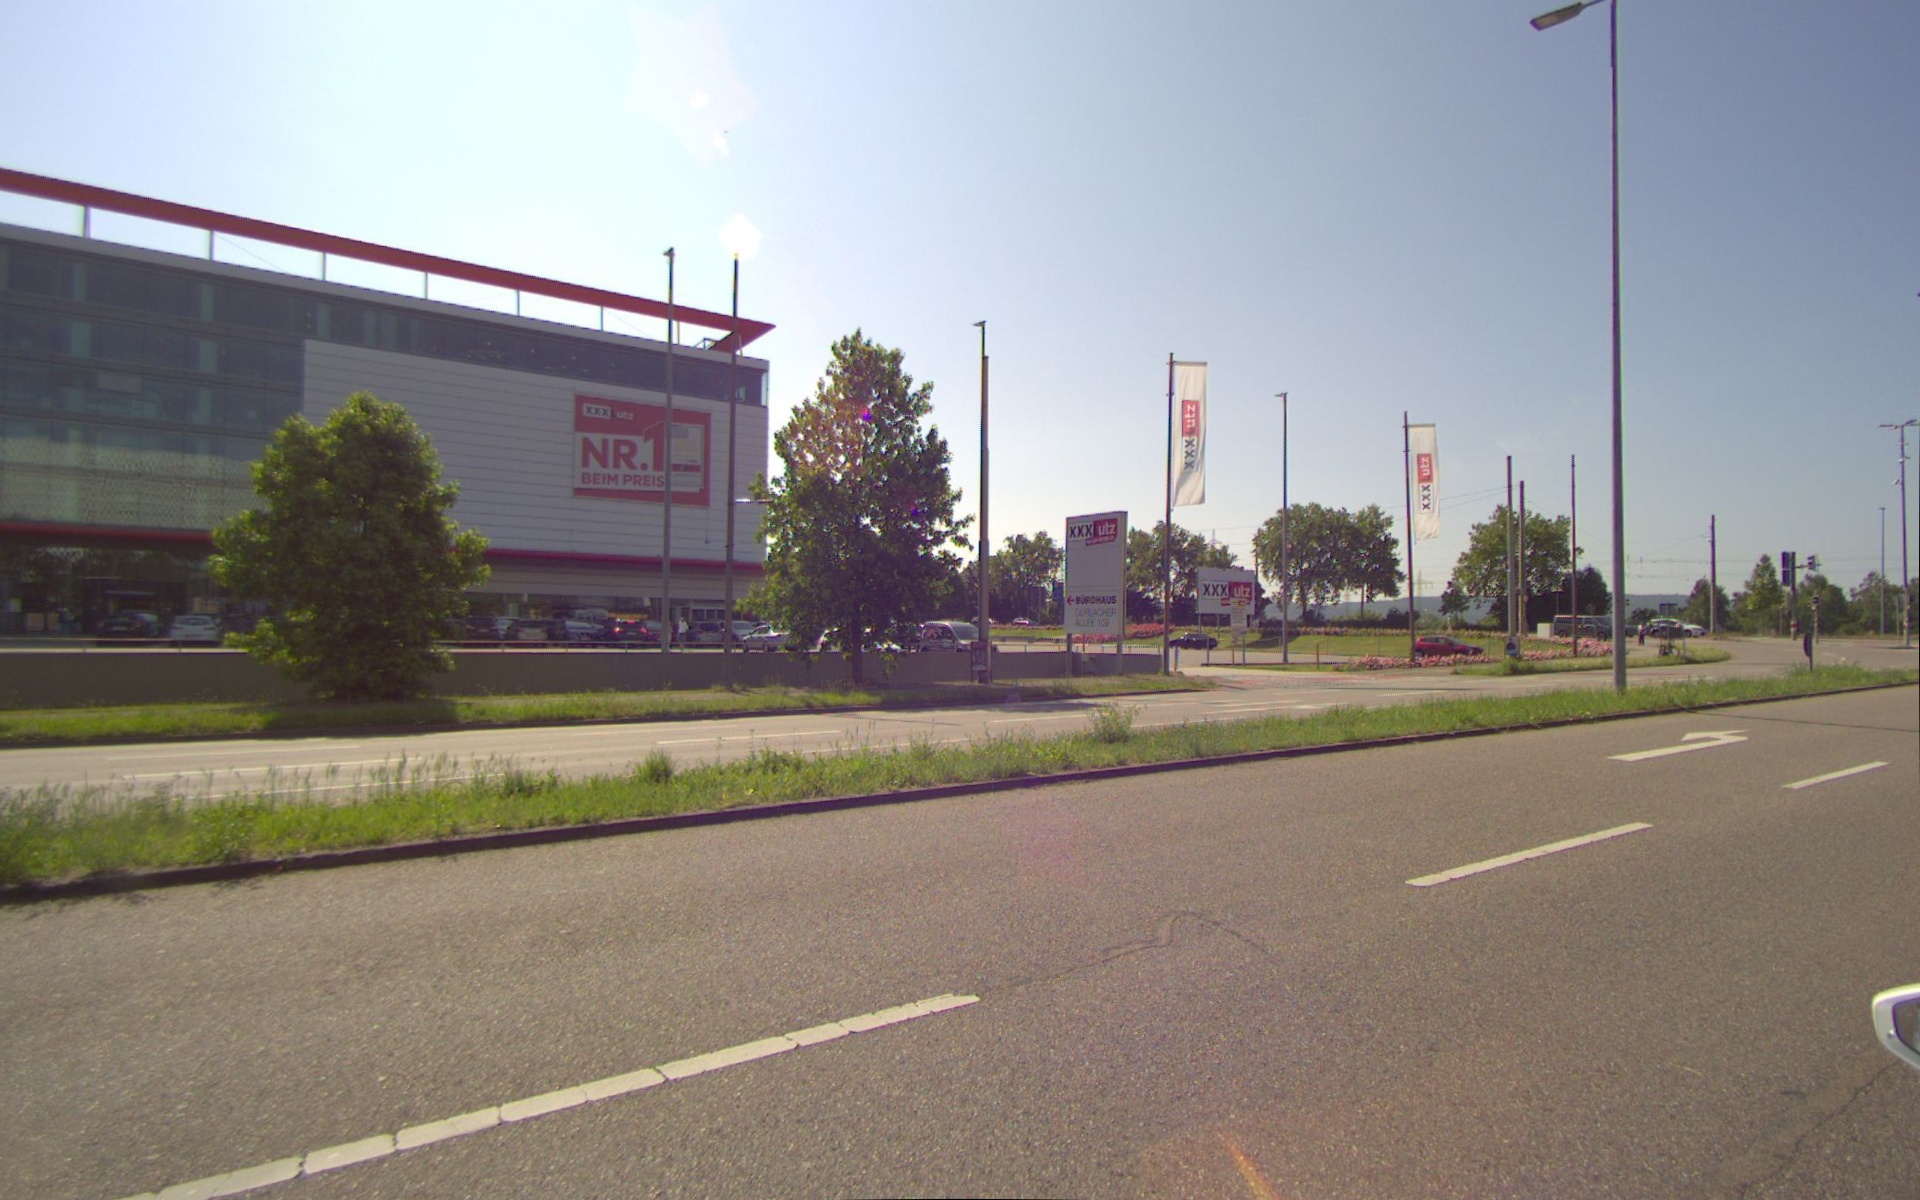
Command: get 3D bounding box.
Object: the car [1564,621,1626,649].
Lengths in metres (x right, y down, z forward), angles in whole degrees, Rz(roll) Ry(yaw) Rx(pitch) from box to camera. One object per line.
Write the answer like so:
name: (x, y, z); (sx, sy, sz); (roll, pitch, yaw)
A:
car: (48.936, 2.670, 77.513); (1.785, 1.951, 3.990); (0, 0, -13)

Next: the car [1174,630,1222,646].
car: (20.433, 3.239, 86.349); (1.712, 1.347, 3.822); (3, -3, -35)

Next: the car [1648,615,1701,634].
car: (58.860, 2.050, 82.751); (1.397, 1.519, 3.318); (3, -3, -38)

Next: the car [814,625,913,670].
car: (-3.834, 1.823, 39.158); (1.854, 1.648, 4.382); (3, -3, -36)

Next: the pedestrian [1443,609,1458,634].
pedestrian: (40.002, 1.776, 81.966); (0.907, 1.998, 0.713); (2, -2, -30)

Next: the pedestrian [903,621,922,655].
pedestrian: (-2.632, 2.096, 55.513); (0.744, 1.882, 0.848); (1, -2, -35)

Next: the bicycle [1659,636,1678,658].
bicycle: (35.546, 2.355, 50.363); (1.629, 1.036, 0.328); (4, -4, -39)

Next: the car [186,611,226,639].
car: (-38.812, 1.301, 51.747); (1.501, 1.347, 3.067); (3, -3, -35)

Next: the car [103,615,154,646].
car: (-37.938, 1.403, 45.897); (1.501, 1.347, 3.067); (3, -3, -35)

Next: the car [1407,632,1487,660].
car: (30.336, 2.863, 62.649); (1.811, 1.626, 4.150); (3, -3, -39)

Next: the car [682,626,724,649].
car: (-15.702, 2.250, 61.309); (1.501, 1.347, 3.067); (3, -3, -35)

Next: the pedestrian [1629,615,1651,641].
pedestrian: (45.944, 1.920, 67.870); (0.892, 1.729, 0.838); (0, -2, -23)

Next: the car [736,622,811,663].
car: (-9.816, 2.205, 52.707); (2.011, 2.040, 4.636); (1, -3, -37)

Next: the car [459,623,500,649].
car: (-25.573, 1.910, 53.432); (1.501, 1.310, 3.067); (3, -3, -35)

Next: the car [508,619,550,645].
car: (-23.783, 1.754, 55.393); (1.501, 1.347, 3.067); (3, -3, -35)

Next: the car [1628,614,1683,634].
car: (56.042, 1.944, 80.960); (1.396, 1.519, 3.362); (3, -3, -36)

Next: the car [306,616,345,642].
car: (-31.648, 1.437, 50.053); (1.466, 1.214, 3.476); (3, -3, -35)

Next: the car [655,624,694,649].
car: (-18.702, 2.356, 65.745); (1.289, 1.579, 3.211); (1, -2, -39)

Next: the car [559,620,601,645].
car: (-21.495, 1.854, 56.734); (1.501, 1.347, 3.067); (3, -3, -35)

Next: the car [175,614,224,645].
car: (-35.620, 1.394, 47.103); (1.687, 1.347, 3.067); (3, -3, -35)

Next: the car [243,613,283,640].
car: (-36.299, 1.378, 52.344); (1.614, 1.347, 3.641); (3, -3, -35)

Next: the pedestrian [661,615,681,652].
pedestrian: (-16.352, 1.883, 56.805); (1.006, 2.040, 0.860); (0, -2, -20)

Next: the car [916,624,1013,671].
car: (0.140, 1.961, 42.021); (1.926, 1.867, 4.384); (2, -3, -35)
